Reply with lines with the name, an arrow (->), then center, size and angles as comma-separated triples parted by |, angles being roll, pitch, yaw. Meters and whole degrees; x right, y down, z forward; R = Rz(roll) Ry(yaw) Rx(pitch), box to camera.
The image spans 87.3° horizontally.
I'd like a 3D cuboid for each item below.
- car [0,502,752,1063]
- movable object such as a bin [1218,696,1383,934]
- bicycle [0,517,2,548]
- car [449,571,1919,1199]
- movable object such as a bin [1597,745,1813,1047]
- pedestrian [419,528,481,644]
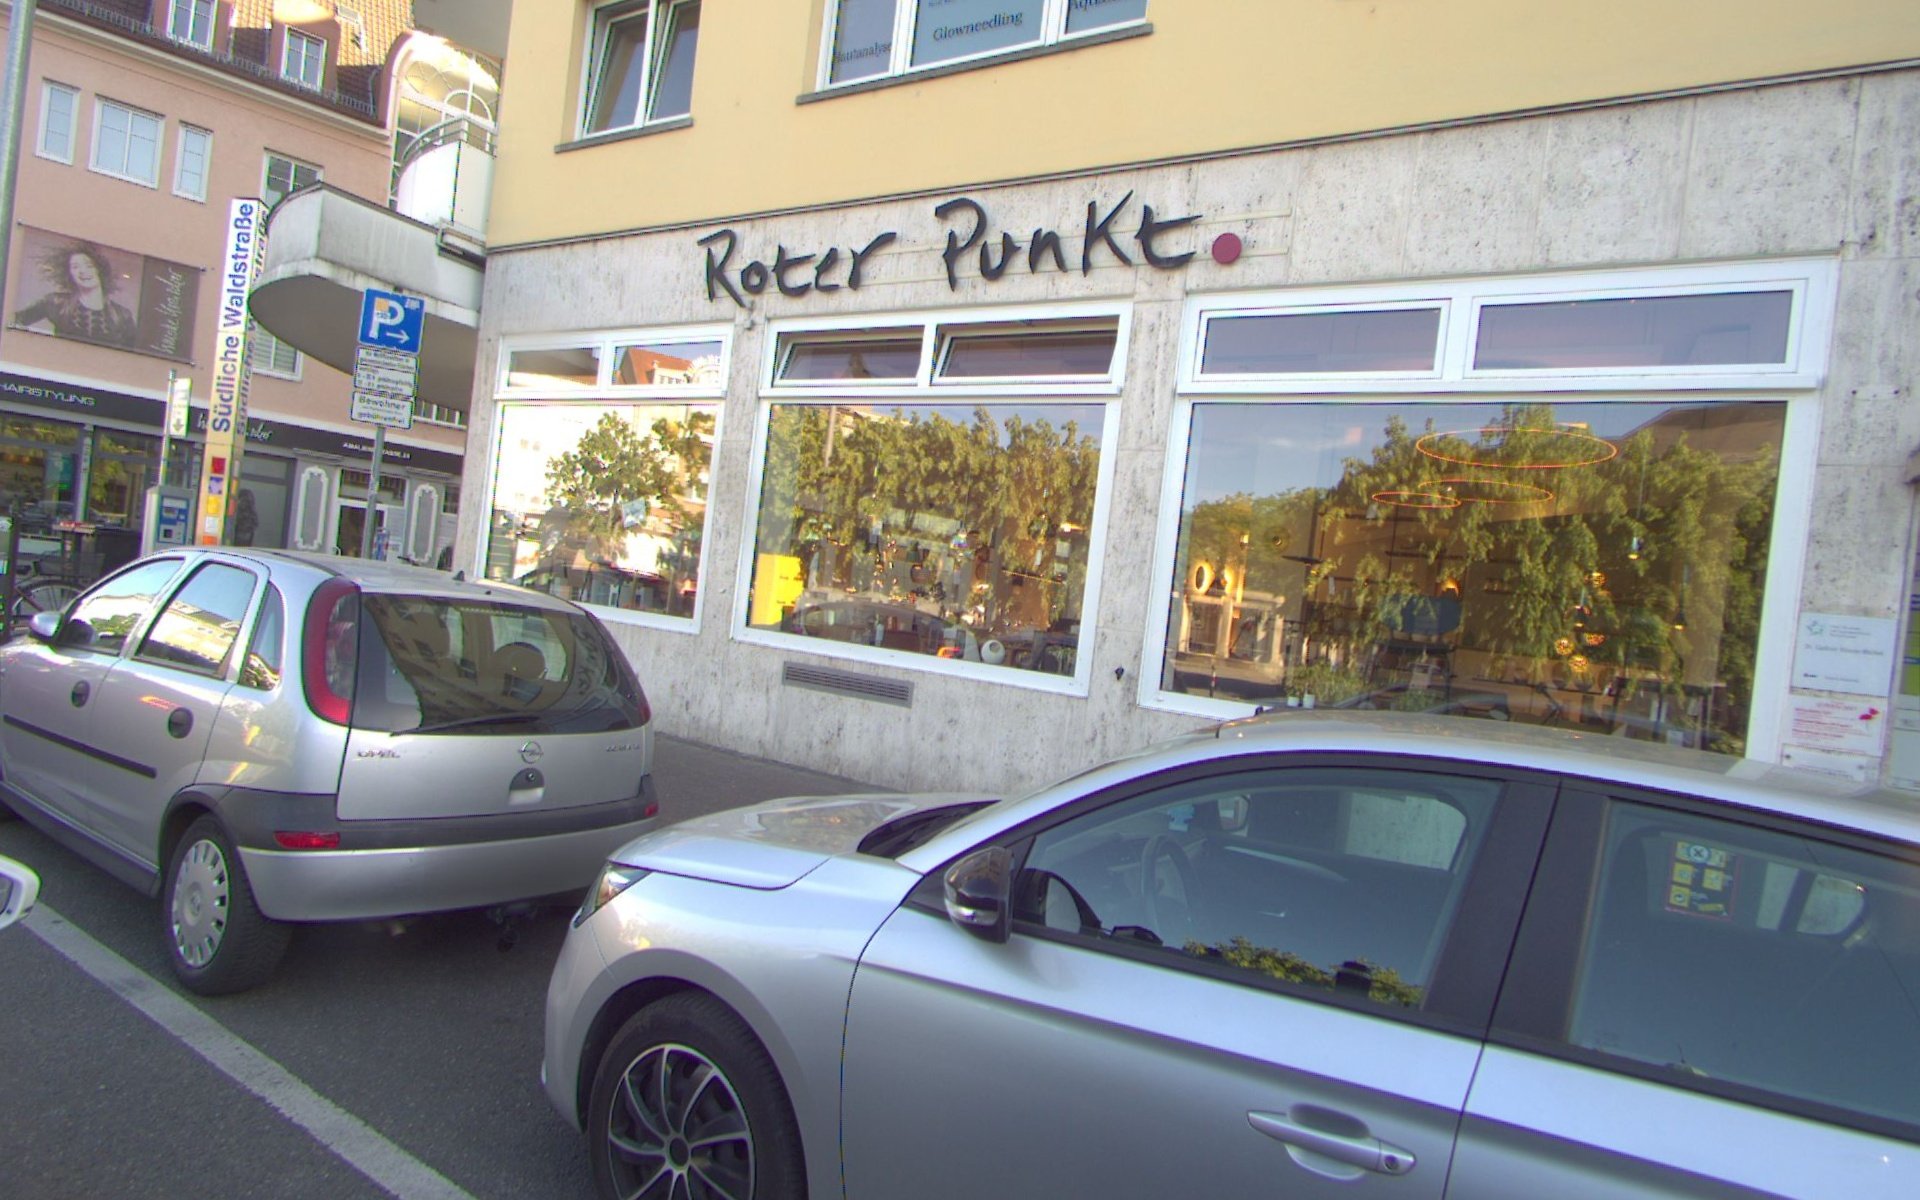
car -> -2.957, 0.448, 4.455 | 3.822, 1.411, 1.624 | 7, -1, 33
movable object such as a bin -> 1.864, 1.120, 5.480 | 0.609, 1.082, 0.703 | 7, 3, 31
bicycle -> -9.311, -0.223, 8.522 | 0.425, 1.175, 1.629 | 7, 1, 30
car -> 0.934, 0.914, 2.201 | 4.009, 1.444, 1.673 | 7, -1, 31
movable object such as a bin -> 3.330, 1.279, 4.567 | 0.609, 1.082, 0.703 | 7, 3, 31
pedestrian -> -7.664, -0.208, 15.137 | 0.654, 1.654, 0.624 | 5, 2, -20
